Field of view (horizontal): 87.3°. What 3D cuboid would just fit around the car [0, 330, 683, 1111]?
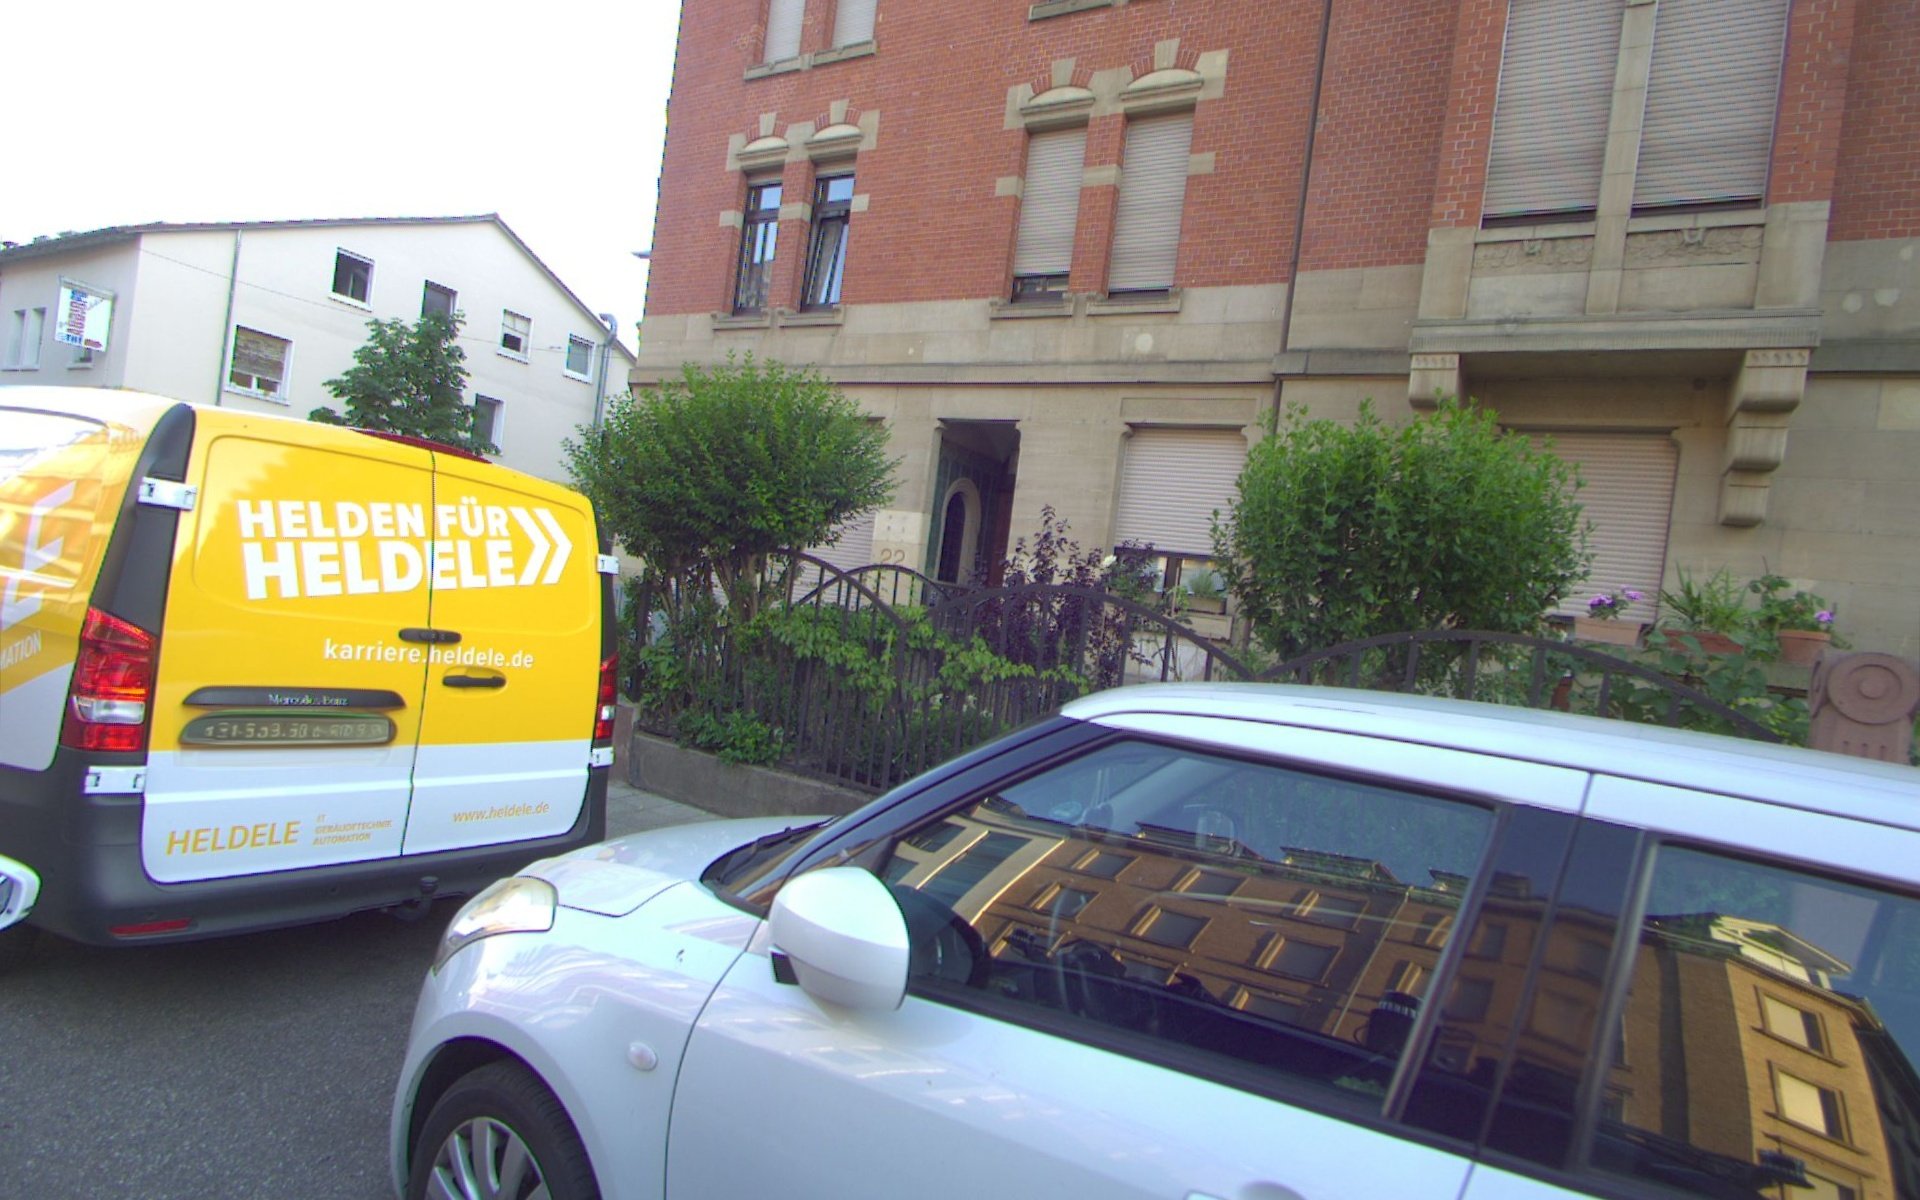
[{"bbox_3d":[-3.844,0.109,4.538,4.996,1.906,1.897,7,-1,31],"label":"car"}]

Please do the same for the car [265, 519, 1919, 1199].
[{"bbox_3d":[0.625,0.848,1.790,3.799,1.494,1.677,7,-1,34],"label":"car"}]

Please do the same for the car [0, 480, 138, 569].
[{"bbox_3d":[-19.886,-1.683,20.804,1.727,1.533,4.054,10,2,32],"label":"car"}]

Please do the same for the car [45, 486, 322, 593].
[{"bbox_3d":[-15.177,-1.131,19.869,1.631,1.473,3.931,8,0,35],"label":"car"}]

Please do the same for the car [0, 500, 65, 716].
[{"bbox_3d":[-8.528,-0.228,7.330,4.182,1.440,1.725,7,-2,31],"label":"car"}]
